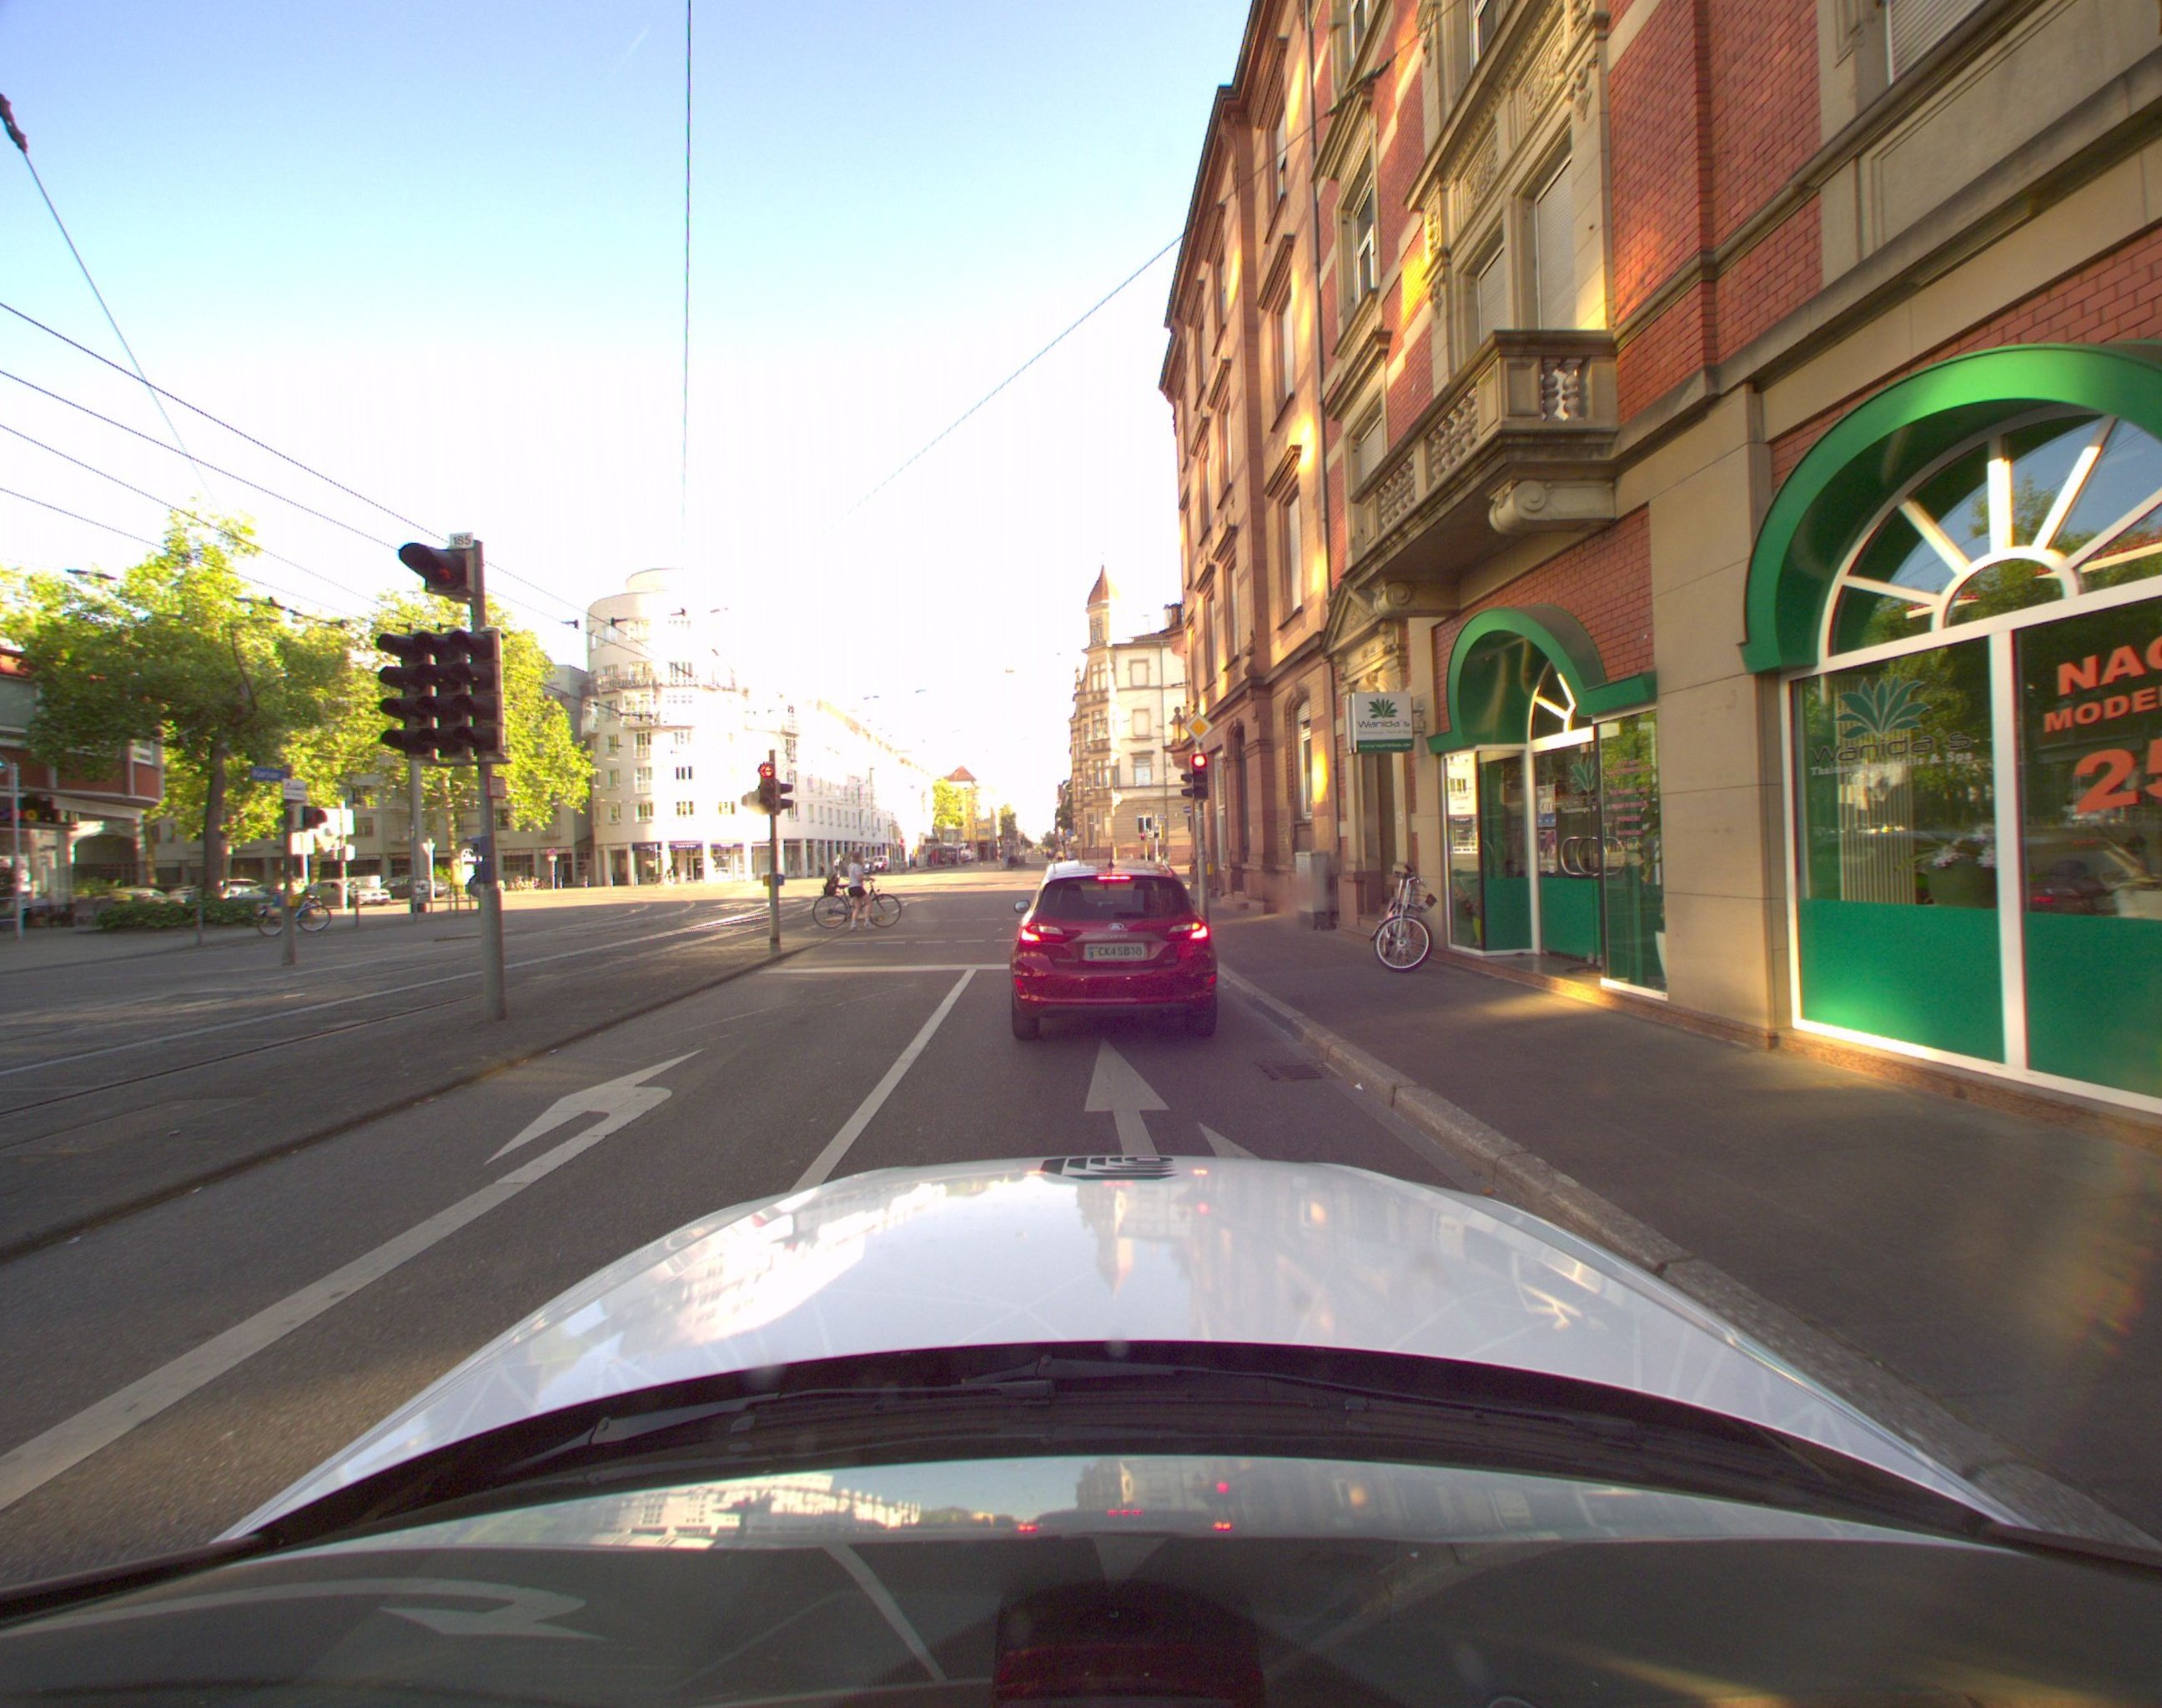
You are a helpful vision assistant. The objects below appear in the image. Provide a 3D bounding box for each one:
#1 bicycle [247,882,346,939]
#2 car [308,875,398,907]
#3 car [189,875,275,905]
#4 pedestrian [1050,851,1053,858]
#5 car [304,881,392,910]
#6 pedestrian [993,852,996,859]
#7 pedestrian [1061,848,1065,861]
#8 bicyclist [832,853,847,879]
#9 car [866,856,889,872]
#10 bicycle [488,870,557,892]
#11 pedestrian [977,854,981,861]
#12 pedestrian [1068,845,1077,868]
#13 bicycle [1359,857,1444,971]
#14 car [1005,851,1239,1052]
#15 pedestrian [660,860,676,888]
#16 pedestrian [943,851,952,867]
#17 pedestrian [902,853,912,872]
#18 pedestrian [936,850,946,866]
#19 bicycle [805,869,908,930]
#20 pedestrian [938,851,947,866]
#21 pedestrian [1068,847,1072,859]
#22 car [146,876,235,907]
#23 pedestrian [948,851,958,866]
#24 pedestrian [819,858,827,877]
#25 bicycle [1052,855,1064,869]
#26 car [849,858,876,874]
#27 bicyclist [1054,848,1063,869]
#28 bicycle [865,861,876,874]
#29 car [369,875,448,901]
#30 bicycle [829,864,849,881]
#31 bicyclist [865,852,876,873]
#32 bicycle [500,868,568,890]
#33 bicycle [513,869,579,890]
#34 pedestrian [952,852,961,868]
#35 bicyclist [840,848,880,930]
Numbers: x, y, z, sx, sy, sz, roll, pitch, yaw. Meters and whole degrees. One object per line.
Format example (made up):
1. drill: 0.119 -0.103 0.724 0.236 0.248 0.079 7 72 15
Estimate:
1. bicycle: -20.186 1.428 21.016 0.669 1.327 1.906 1 0 1
2. car: -41.226 2.098 46.130 3.979 1.559 1.635 -2 0 10
3. car: -61.681 2.583 59.250 1.987 1.964 4.000 -2 0 0
4. pedestrian: -7.489 0.129 206.492 0.575 1.887 0.669 -2 0 -2
5. car: -37.759 2.130 41.949 3.969 1.295 1.781 -2 0 23
6. pedestrian: -21.220 0.397 198.926 0.630 1.604 0.575 -2 0 -19
7. pedestrian: -2.844 0.063 130.493 0.574 2.013 0.631 -2 0 4
8. bicyclist: -16.982 0.834 57.238 0.806 1.726 0.793 -2 0 -3
9. car: -22.338 1.077 89.468 1.697 1.718 3.561 -2 0 -3
10. bicycle: -44.387 2.120 64.759 4.687 1.530 1.067 -2 0 1
11. pedestrian: -21.166 0.786 169.014 0.522 1.488 0.582 -2 0 0
12. pedestrian: -0.750 0.232 72.304 0.650 2.013 0.759 -2 0 -3
13. bicycle: 3.699 0.651 9.509 0.710 1.152 1.662 -4 0 16
14. car: 0.188 0.720 8.063 1.751 1.466 3.939 -1 0 -4
15. pedestrian: -31.078 1.505 61.283 0.950 2.013 0.931 -2 0 -30
16. pedestrian: -17.889 0.681 109.008 1.043 2.013 0.957 -2 0 -5
17. pedestrian: -16.000 0.814 74.990 0.766 1.730 0.572 -2 0 0
18. pedestrian: -17.691 0.494 102.967 0.953 2.013 1.048 -2 0 -2
19. bicycle: -4.644 0.922 16.902 2.023 1.177 0.624 -1 -1 -18
20. pedestrian: -18.069 0.581 106.484 1.043 2.013 0.957 -2 0 -5
21. pedestrian: -1.795 -0.124 136.630 0.574 2.013 0.631 -2 0 4
22. car: -64.600 2.677 59.171 1.987 1.964 4.000 -2 0 0
23. pedestrian: -16.524 0.577 105.231 1.043 2.013 0.957 -2 0 -5
24. pedestrian: -23.779 1.255 75.060 0.524 1.681 0.484 -2 0 -10
25. bicycle: -1.862 0.664 65.563 0.528 1.089 1.476 -2 0 -19
26. car: -21.942 1.205 81.883 1.760 1.546 3.459 -2 0 -1
27. bicyclist: -1.810 0.369 65.364 0.501 1.676 0.541 -2 0 -19
28. bicycle: -18.989 1.188 73.534 0.809 1.147 1.998 -2 0 -17
29. car: -45.353 2.295 54.924 3.971 1.531 1.617 -2 0 2
30. bicycle: -16.961 1.278 57.151 0.805 1.147 2.048 -2 0 -2
31. bicyclist: -18.926 0.745 73.284 0.810 1.821 0.987 -2 0 -17
32. bicycle: -44.253 2.010 65.899 4.687 1.530 1.067 -2 0 1
33. bicycle: -44.286 2.128 67.450 4.687 1.530 1.067 -2 0 1
34. pedestrian: -16.403 0.803 107.679 1.043 2.013 0.957 -2 0 -5
35. bicyclist: -4.550 0.693 16.732 0.732 1.627 0.760 0 -1 -20
